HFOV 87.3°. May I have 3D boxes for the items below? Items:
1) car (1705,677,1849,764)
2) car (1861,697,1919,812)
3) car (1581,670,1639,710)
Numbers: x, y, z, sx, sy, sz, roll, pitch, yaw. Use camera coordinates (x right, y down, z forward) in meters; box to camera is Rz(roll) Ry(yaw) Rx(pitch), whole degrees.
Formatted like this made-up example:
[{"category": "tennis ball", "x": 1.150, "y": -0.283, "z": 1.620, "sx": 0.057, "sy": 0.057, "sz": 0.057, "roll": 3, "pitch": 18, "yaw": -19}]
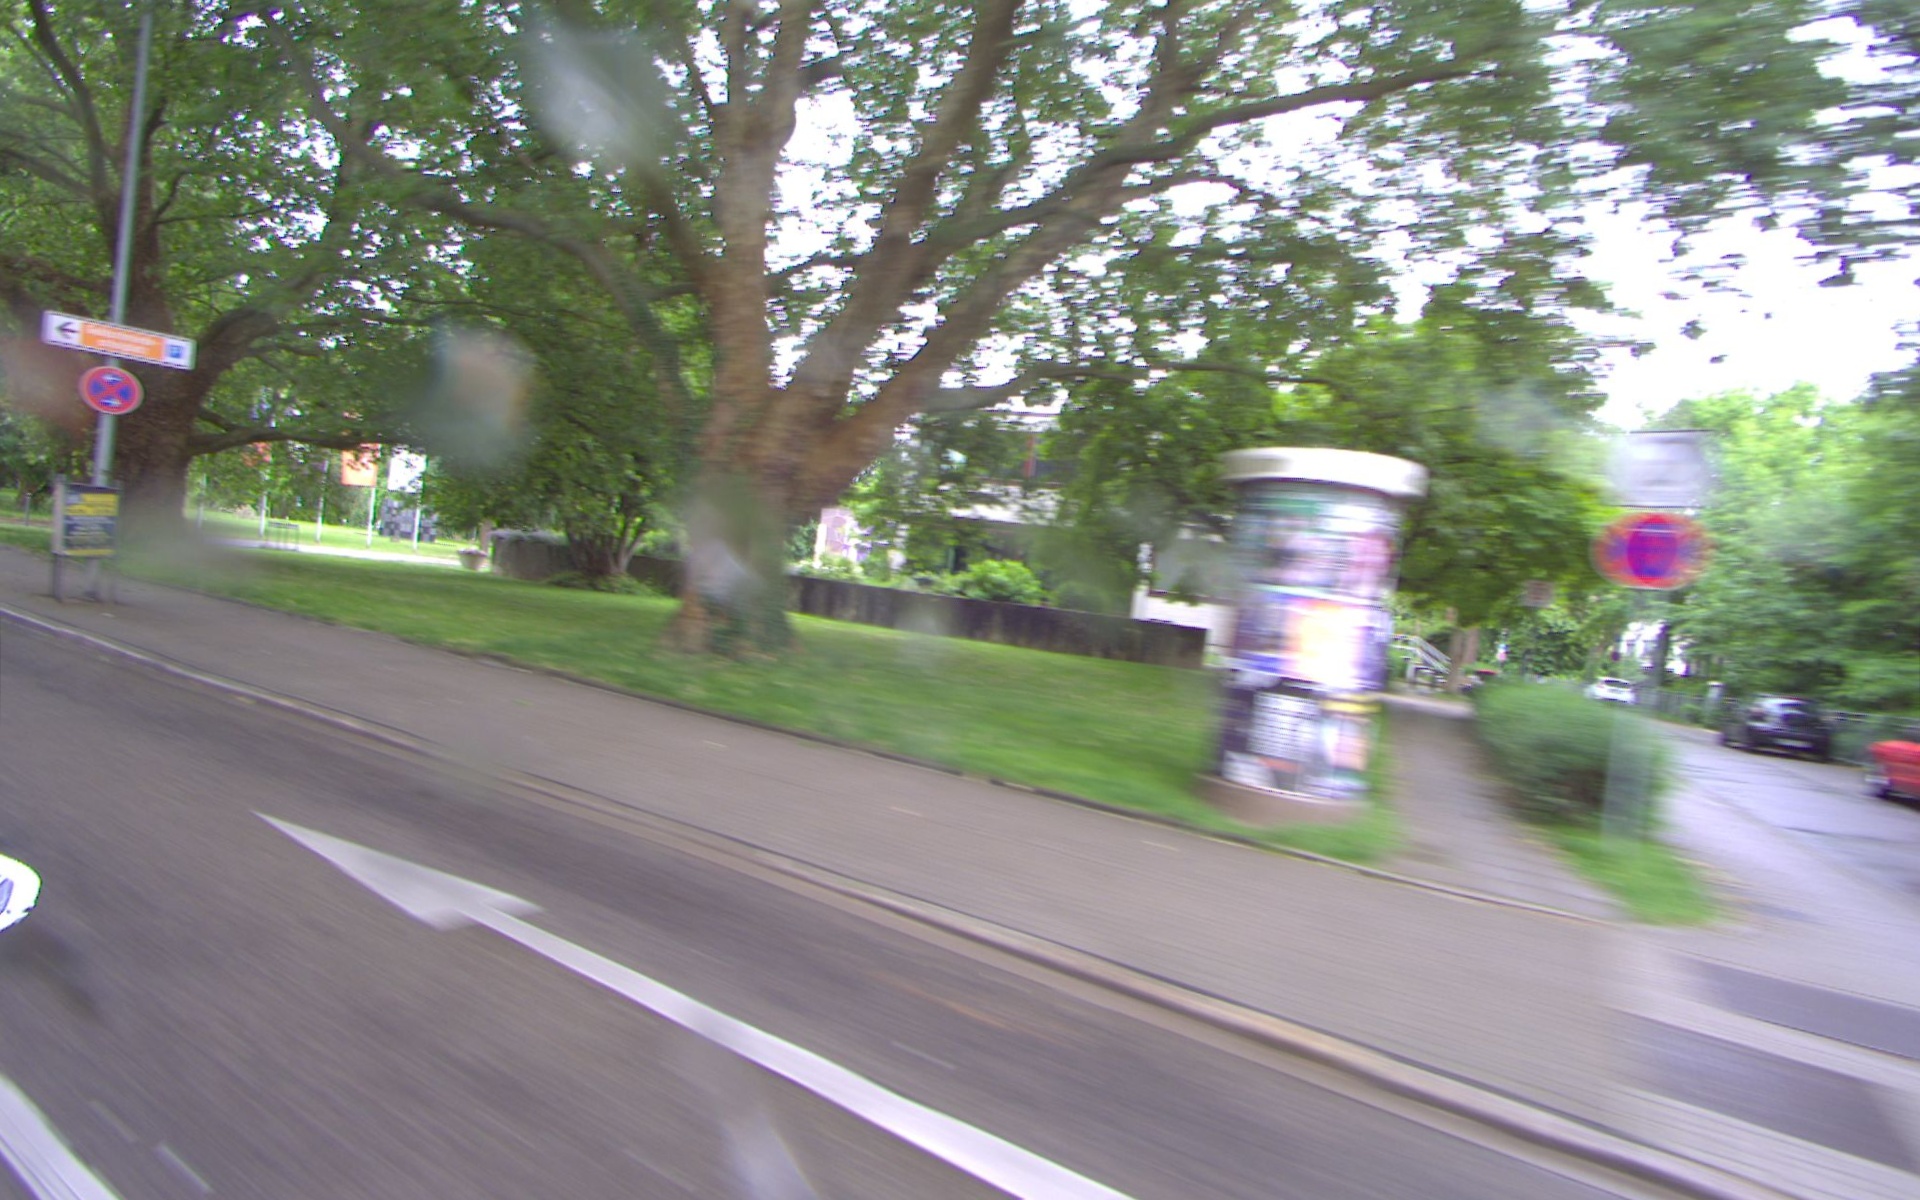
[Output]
[{"category": "car", "x": 19.626, "y": 2.823, "z": 24.360, "sx": 1.705, "sy": 1.591, "sz": 3.928, "roll": 7, "pitch": 1, "yaw": 26}, {"category": "car", "x": 14.226, "y": 2.276, "z": 13.605, "sx": 1.843, "sy": 1.500, "sz": 3.995, "roll": 6, "pitch": 0, "yaw": 25}, {"category": "car", "x": 31.591, "y": 4.335, "z": 48.991, "sx": 1.704, "sy": 1.591, "sz": 3.929, "roll": 7, "pitch": 1, "yaw": 25}]
